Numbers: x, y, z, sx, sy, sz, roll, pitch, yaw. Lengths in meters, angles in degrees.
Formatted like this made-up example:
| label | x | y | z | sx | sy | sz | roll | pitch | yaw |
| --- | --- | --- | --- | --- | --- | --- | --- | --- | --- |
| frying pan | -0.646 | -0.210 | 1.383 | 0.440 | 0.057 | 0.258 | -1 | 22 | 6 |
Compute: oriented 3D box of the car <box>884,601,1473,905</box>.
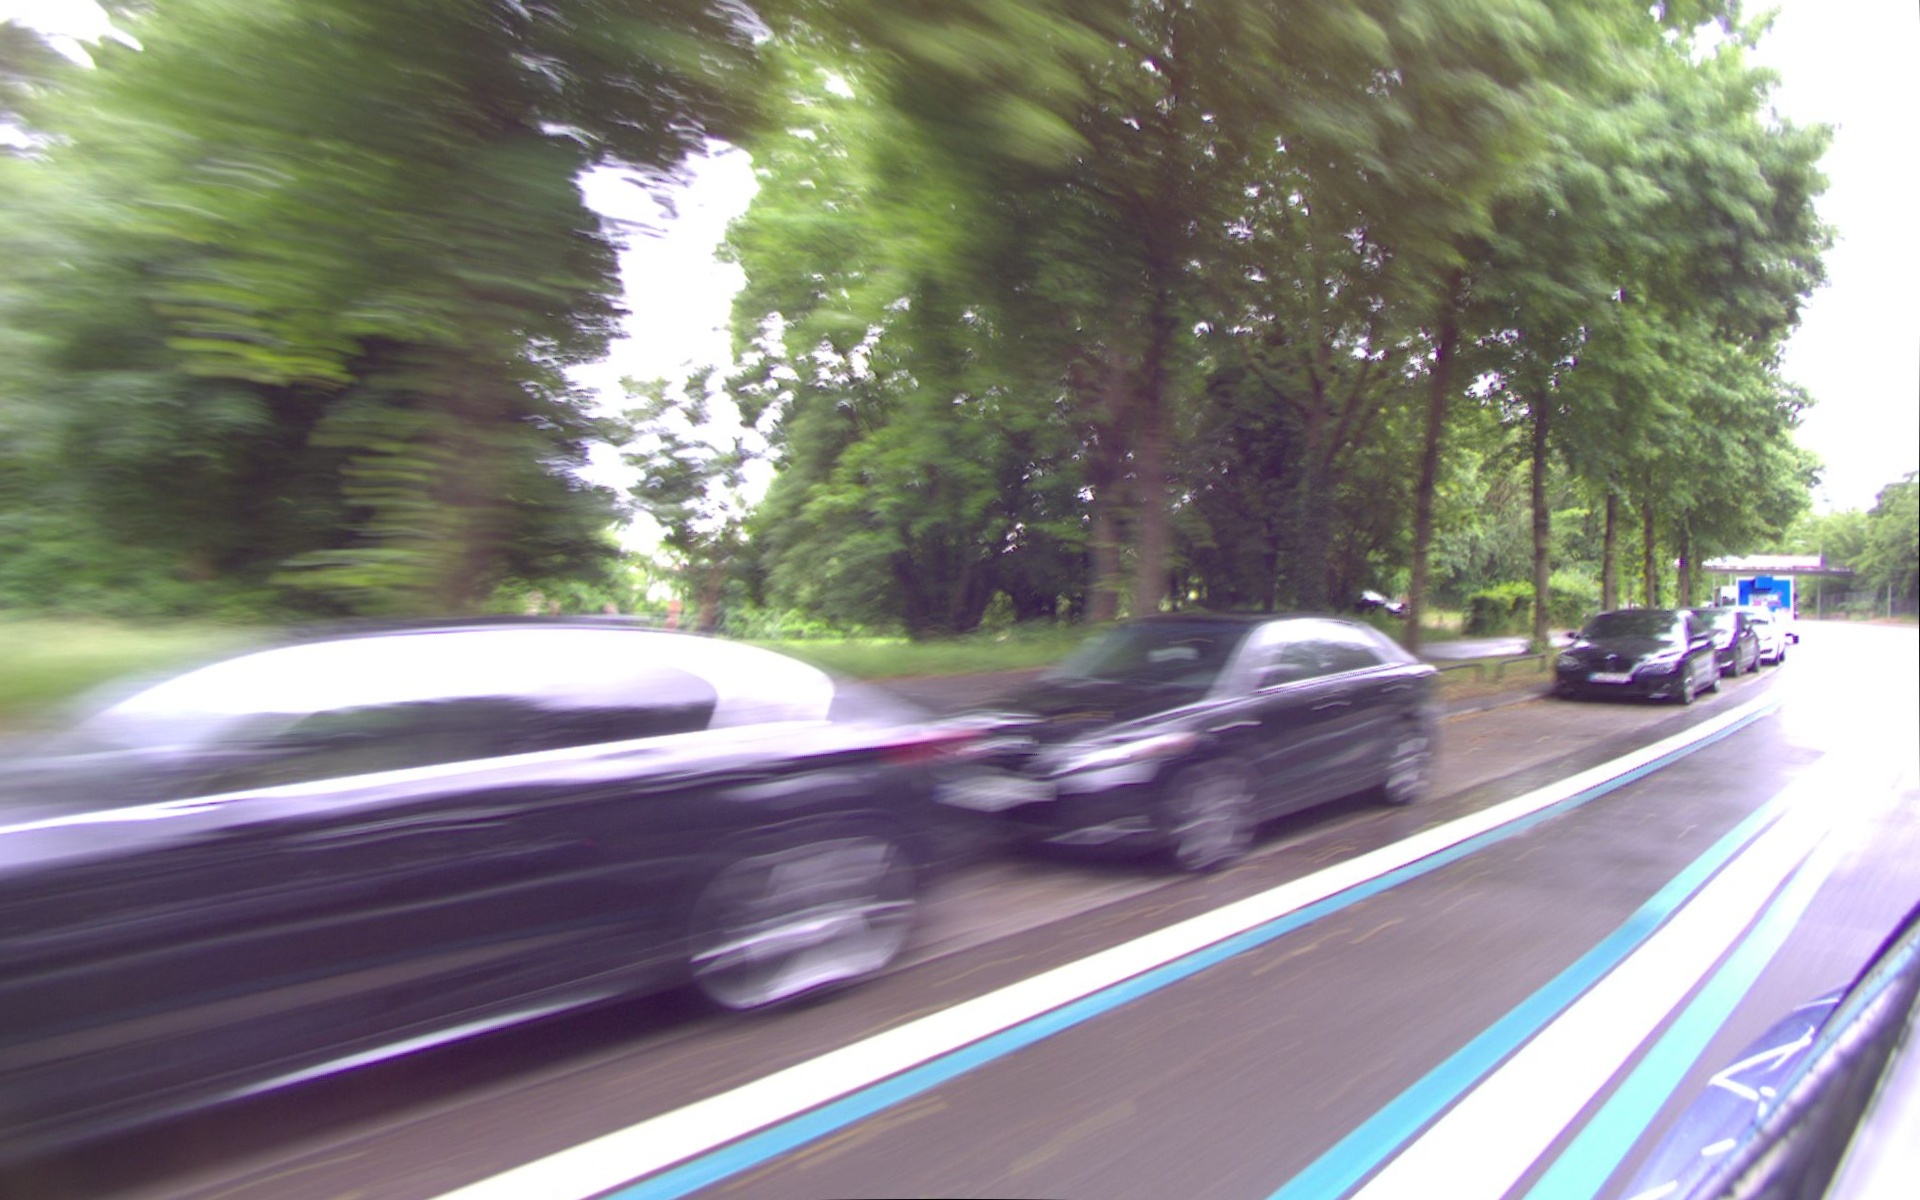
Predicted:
| label | x | y | z | sx | sy | sz | roll | pitch | yaw |
| --- | --- | --- | --- | --- | --- | --- | --- | --- | --- |
| car | 1.822 | 0.753 | 7.113 | 4.684 | 1.438 | 1.700 | 0 | -1 | -44 |

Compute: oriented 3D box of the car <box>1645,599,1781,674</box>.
| label | x | y | z | sx | sy | sz | roll | pitch | yaw |
| --- | --- | --- | --- | --- | --- | --- | --- | --- | --- |
| car | 16.472 | 0.728 | 22.068 | 4.246 | 1.446 | 1.685 | 0 | -1 | -44 |

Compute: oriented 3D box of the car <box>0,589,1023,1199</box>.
| label | x | y | z | sx | sy | sz | roll | pitch | yaw |
| --- | --- | --- | --- | --- | --- | --- | --- | --- | --- |
| car | -2.085 | 0.714 | 3.518 | 4.773 | 1.458 | 1.760 | 0 | -1 | -42 |

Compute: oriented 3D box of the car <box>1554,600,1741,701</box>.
| label | x | y | z | sx | sy | sz | roll | pitch | yaw |
| --- | --- | --- | --- | --- | --- | --- | --- | --- | --- |
| car | 11.560 | 0.735 | 16.873 | 1.781 | 1.425 | 4.768 | -1 | -1 | 44 |

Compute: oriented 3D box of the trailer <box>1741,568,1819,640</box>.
| label | x | y | z | sx | sy | sz | roll | pitch | yaw |
| --- | --- | --- | --- | --- | --- | --- | --- | --- | --- |
| trailer | 33.047 | 0.137 | 40.905 | 2.311 | 2.706 | 5.301 | 0 | 0 | 38 |

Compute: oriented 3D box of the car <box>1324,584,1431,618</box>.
| label | x | y | z | sx | sy | sz | roll | pitch | yaw |
| --- | --- | --- | --- | --- | --- | --- | --- | --- | --- |
| car | 19.101 | 0.011 | 46.397 | 1.857 | 1.338 | 4.147 | 0 | 2 | -39 |

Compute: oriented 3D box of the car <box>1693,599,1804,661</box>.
| label | x | y | z | sx | sy | sz | roll | pitch | yaw |
| --- | --- | --- | --- | --- | --- | --- | --- | --- | --- |
| car | 20.598 | 0.719 | 26.358 | 1.859 | 1.446 | 4.577 | -1 | -1 | 43 |

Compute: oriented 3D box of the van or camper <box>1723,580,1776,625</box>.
| label | x | y | z | sx | sy | sz | roll | pitch | yaw |
| --- | --- | --- | --- | --- | --- | --- | --- | --- | --- |
| van or camper | 49.900 | 0.162 | 64.094 | 2.310 | 2.698 | 6.300 | 0 | 0 | 35 |
